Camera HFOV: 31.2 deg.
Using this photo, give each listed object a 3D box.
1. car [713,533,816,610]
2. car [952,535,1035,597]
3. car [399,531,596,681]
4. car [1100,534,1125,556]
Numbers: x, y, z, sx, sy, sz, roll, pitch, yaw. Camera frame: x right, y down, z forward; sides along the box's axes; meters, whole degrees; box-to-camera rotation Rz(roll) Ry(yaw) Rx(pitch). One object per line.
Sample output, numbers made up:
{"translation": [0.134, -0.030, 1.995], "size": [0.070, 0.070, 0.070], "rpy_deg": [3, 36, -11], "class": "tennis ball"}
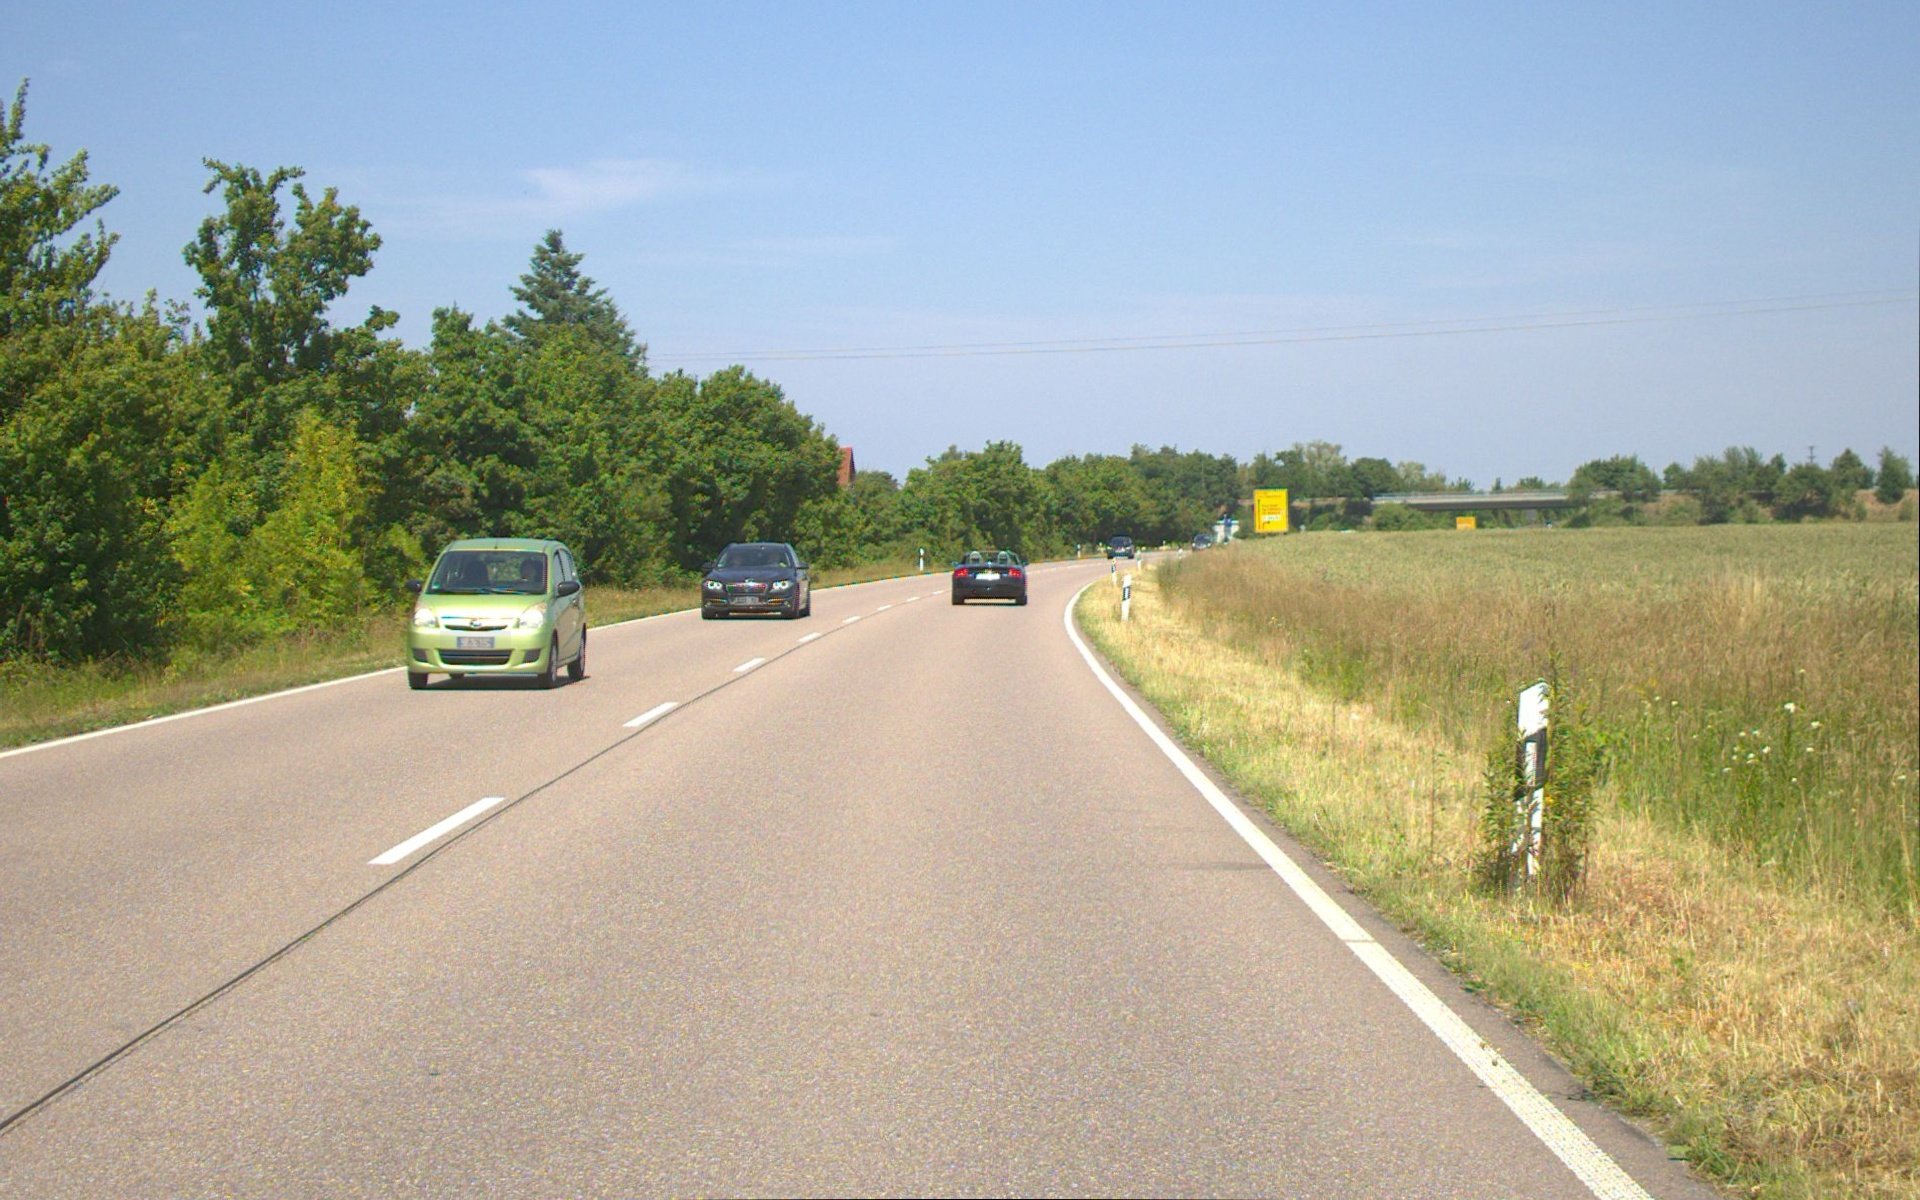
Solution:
{"translation": [-3.793, -0.582, 67.283], "size": [1.800, 1.445, 4.533], "rpy_deg": [0, 1, -1], "class": "car"}
{"translation": [0.818, -0.825, 81.819], "size": [1.814, 1.436, 4.000], "rpy_deg": [1, 1, 3], "class": "car"}
{"translation": [-4.817, 0.024, 36.196], "size": [1.496, 1.490, 3.832], "rpy_deg": [0, 1, 1], "class": "car"}
{"translation": [11.147, -4.036, 251.296], "size": [1.699, 1.561, 3.671], "rpy_deg": [-1, 1, 4], "class": "car"}
